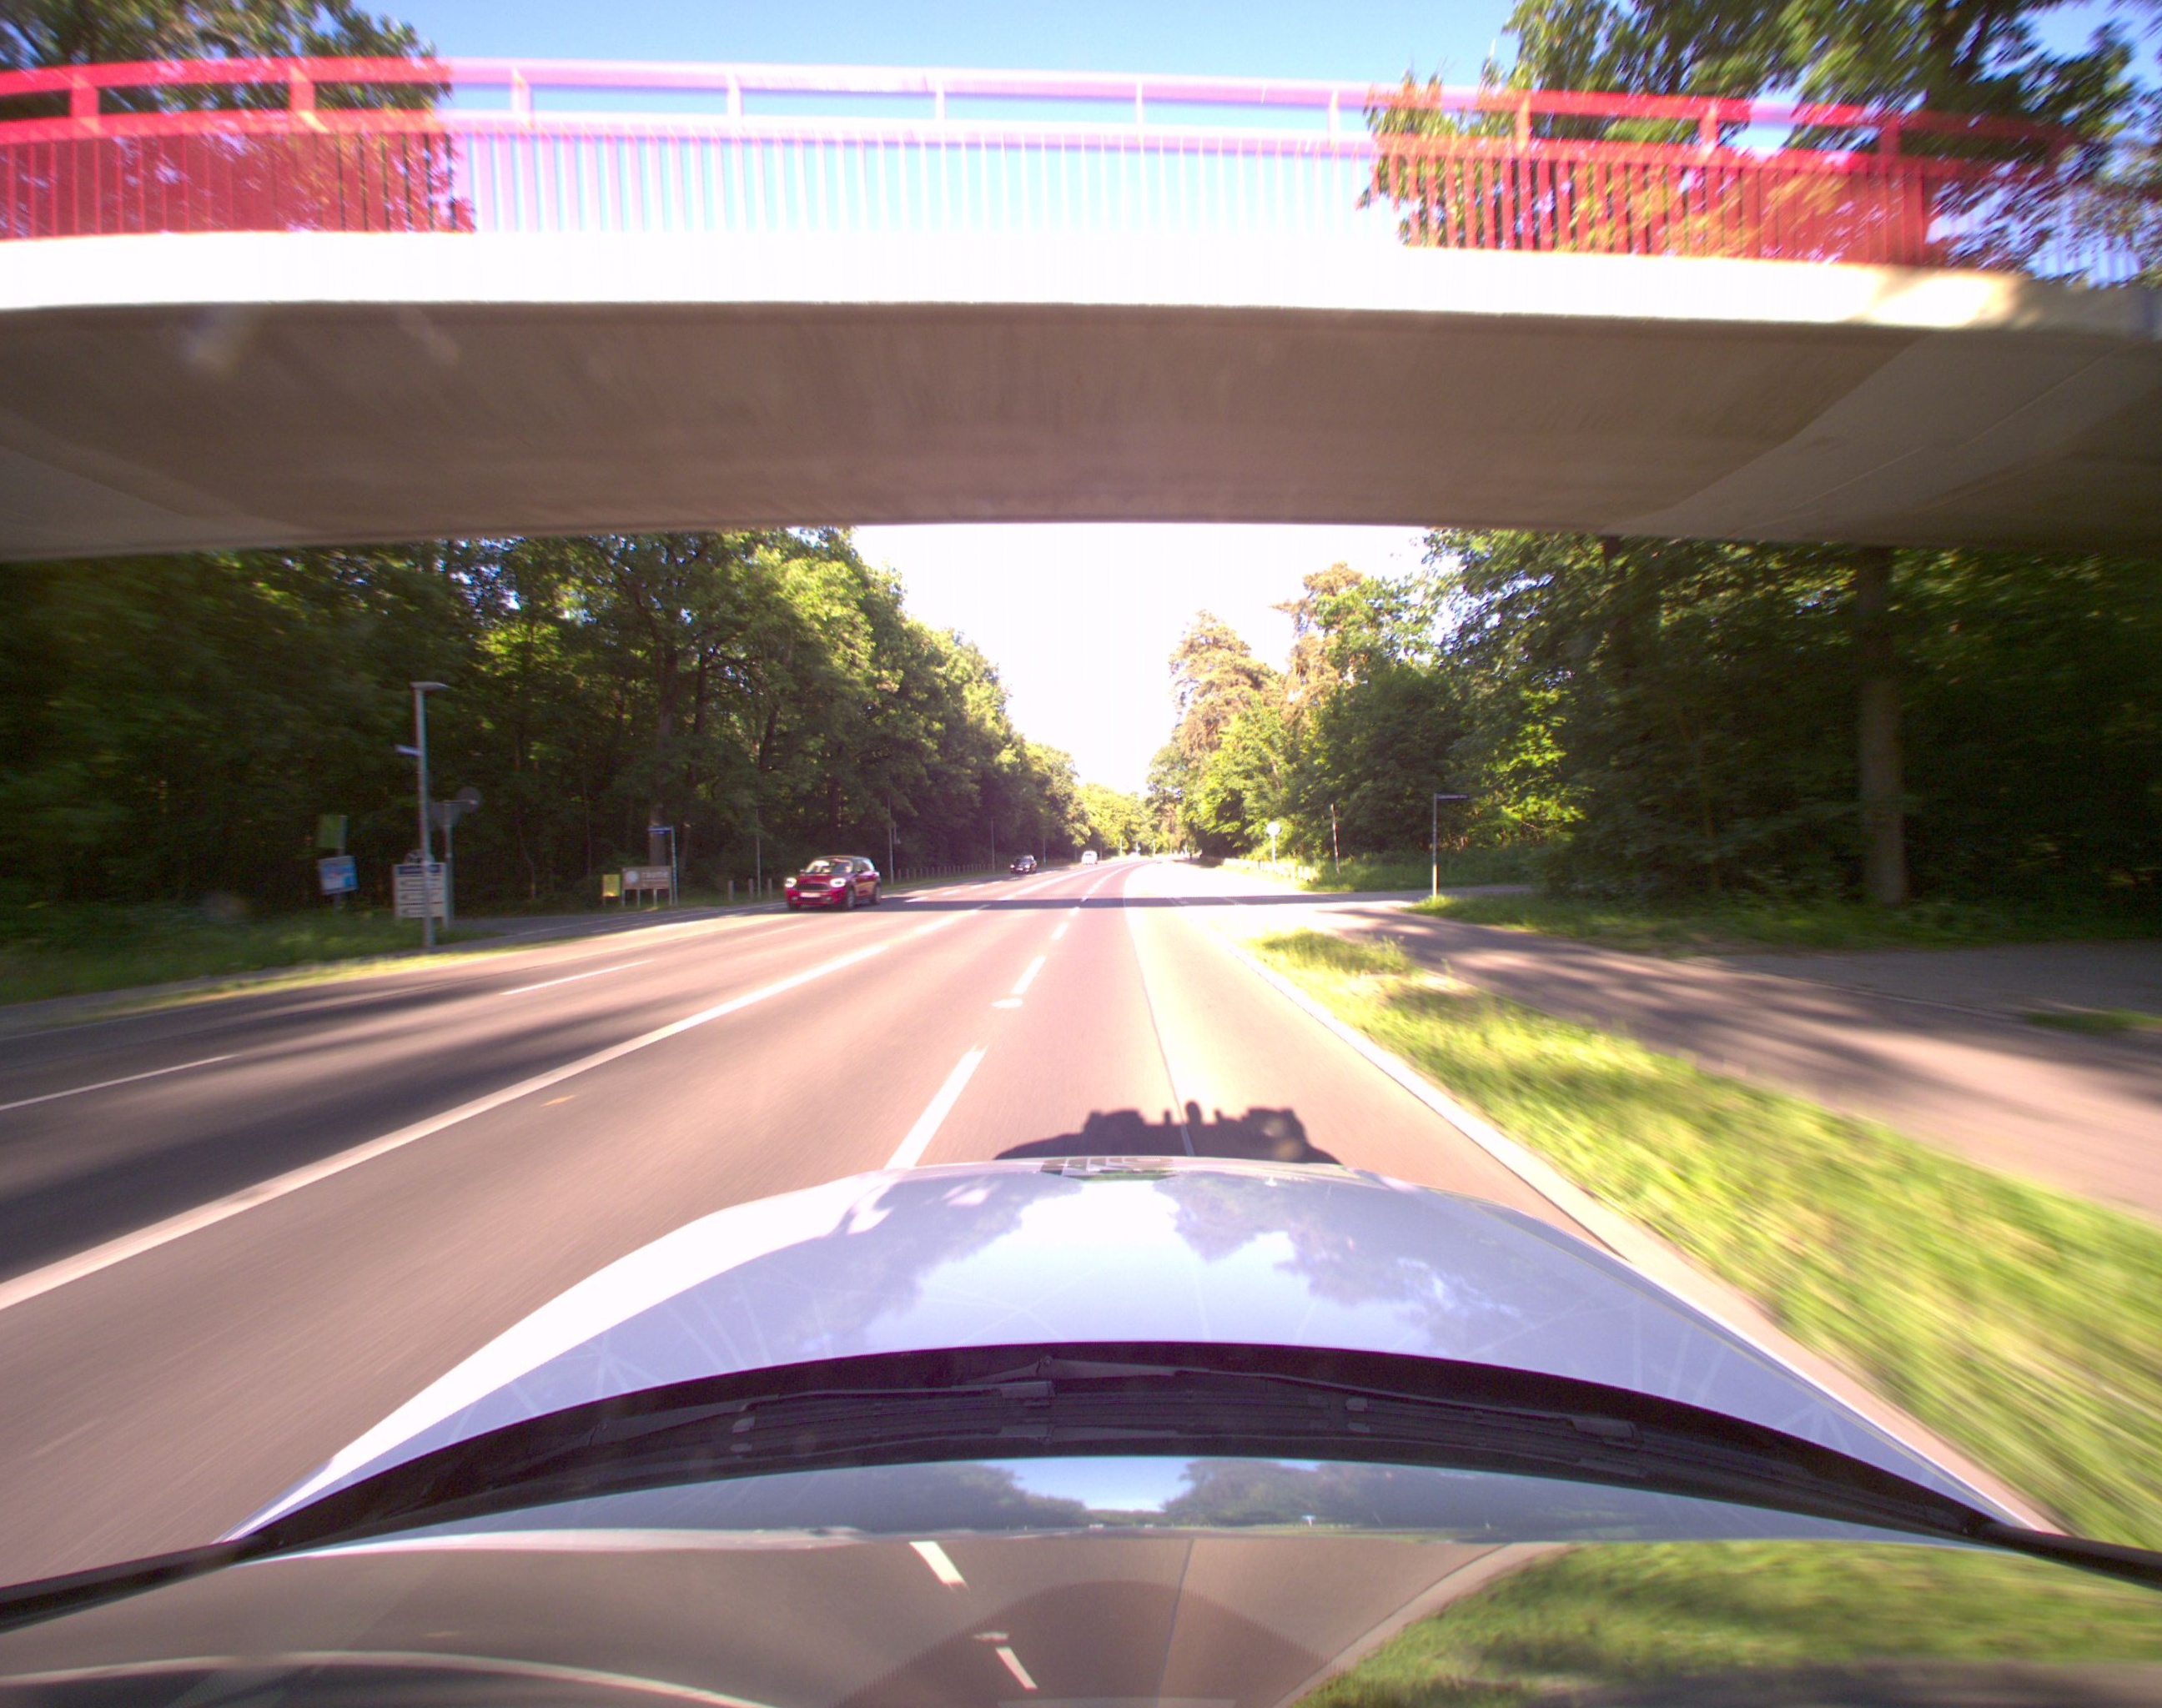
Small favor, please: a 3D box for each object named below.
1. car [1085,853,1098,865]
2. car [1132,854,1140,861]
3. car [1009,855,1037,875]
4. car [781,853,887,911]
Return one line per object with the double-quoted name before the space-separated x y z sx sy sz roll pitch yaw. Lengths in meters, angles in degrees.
"car" 1.517 0.726 117.777 1.698 1.709 4.002 -1 0 2
"car" 12.956 0.836 191.374 1.774 1.709 4.008 -1 0 7
"car" -4.630 0.864 65.506 1.715 1.574 4.181 0 0 3
"car" -7.366 0.770 24.705 1.754 1.582 4.171 0 0 3
